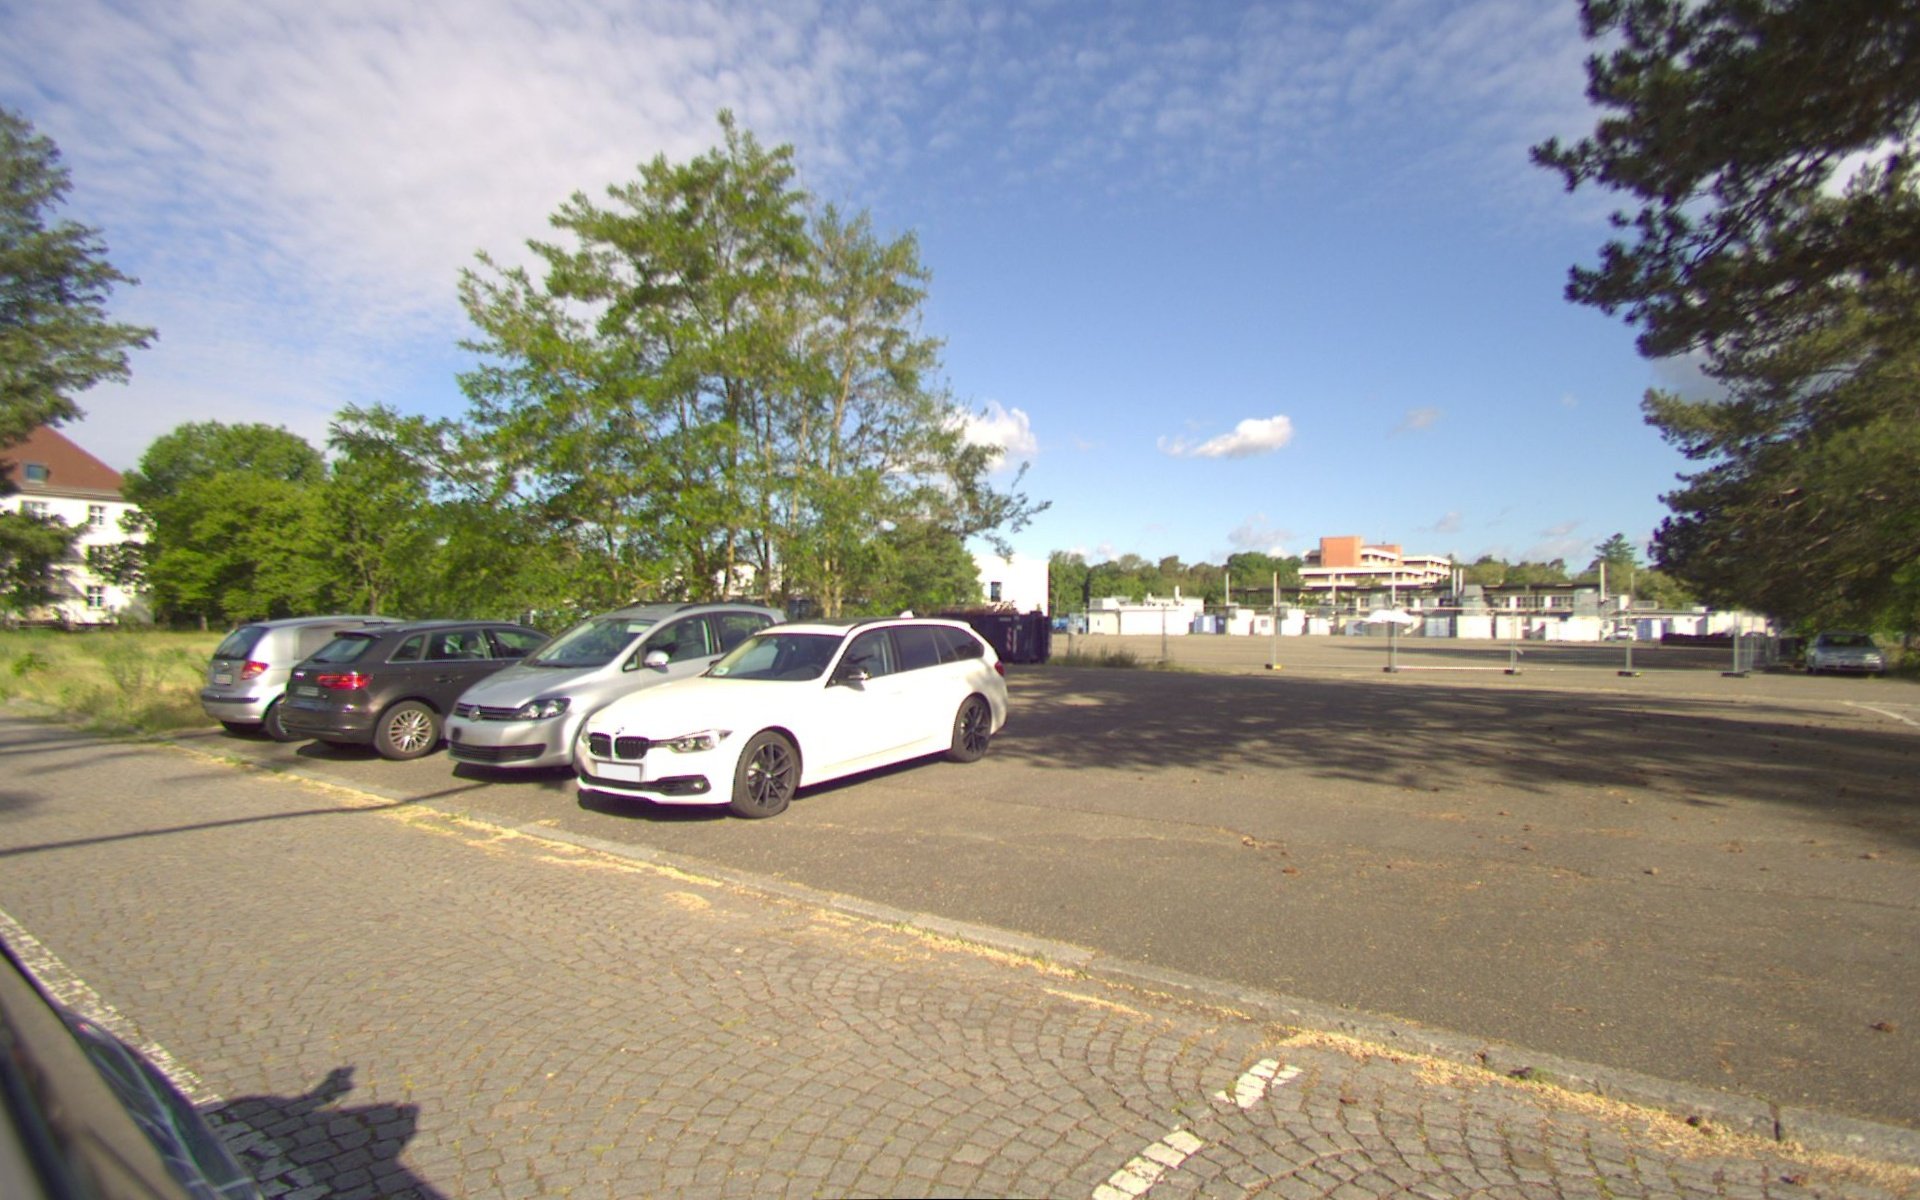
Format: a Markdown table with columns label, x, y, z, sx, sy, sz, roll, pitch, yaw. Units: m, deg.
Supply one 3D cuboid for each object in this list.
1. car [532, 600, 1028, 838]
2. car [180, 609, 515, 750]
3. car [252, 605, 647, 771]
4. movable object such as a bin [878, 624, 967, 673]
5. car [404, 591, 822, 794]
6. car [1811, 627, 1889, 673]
| label | x | y | z | sx | sy | sz | roll | pitch | yaw |
| --- | --- | --- | --- | --- | --- | --- | --- | --- | --- |
| car | -1.295 | 0.814 | 9.145 | 1.748 | 1.478 | 4.502 | -1 | 1 | 35 |
| car | -7.997 | 0.929 | 13.472 | 1.633 | 1.482 | 3.435 | -1 | 1 | 35 |
| car | -5.786 | 0.870 | 11.857 | 1.685 | 1.482 | 3.762 | -1 | 1 | 37 |
| movable object such as a bin | -0.877 | 1.148 | 24.589 | 0.996 | 1.116 | 2.258 | -1 | -2 | 36 |
| car | -3.400 | 0.770 | 10.614 | 1.717 | 1.638 | 3.913 | -1 | 1 | 33 |
| car | 28.518 | 1.560 | 32.517 | 1.746 | 1.380 | 3.574 | -1 | -2 | 39 |
